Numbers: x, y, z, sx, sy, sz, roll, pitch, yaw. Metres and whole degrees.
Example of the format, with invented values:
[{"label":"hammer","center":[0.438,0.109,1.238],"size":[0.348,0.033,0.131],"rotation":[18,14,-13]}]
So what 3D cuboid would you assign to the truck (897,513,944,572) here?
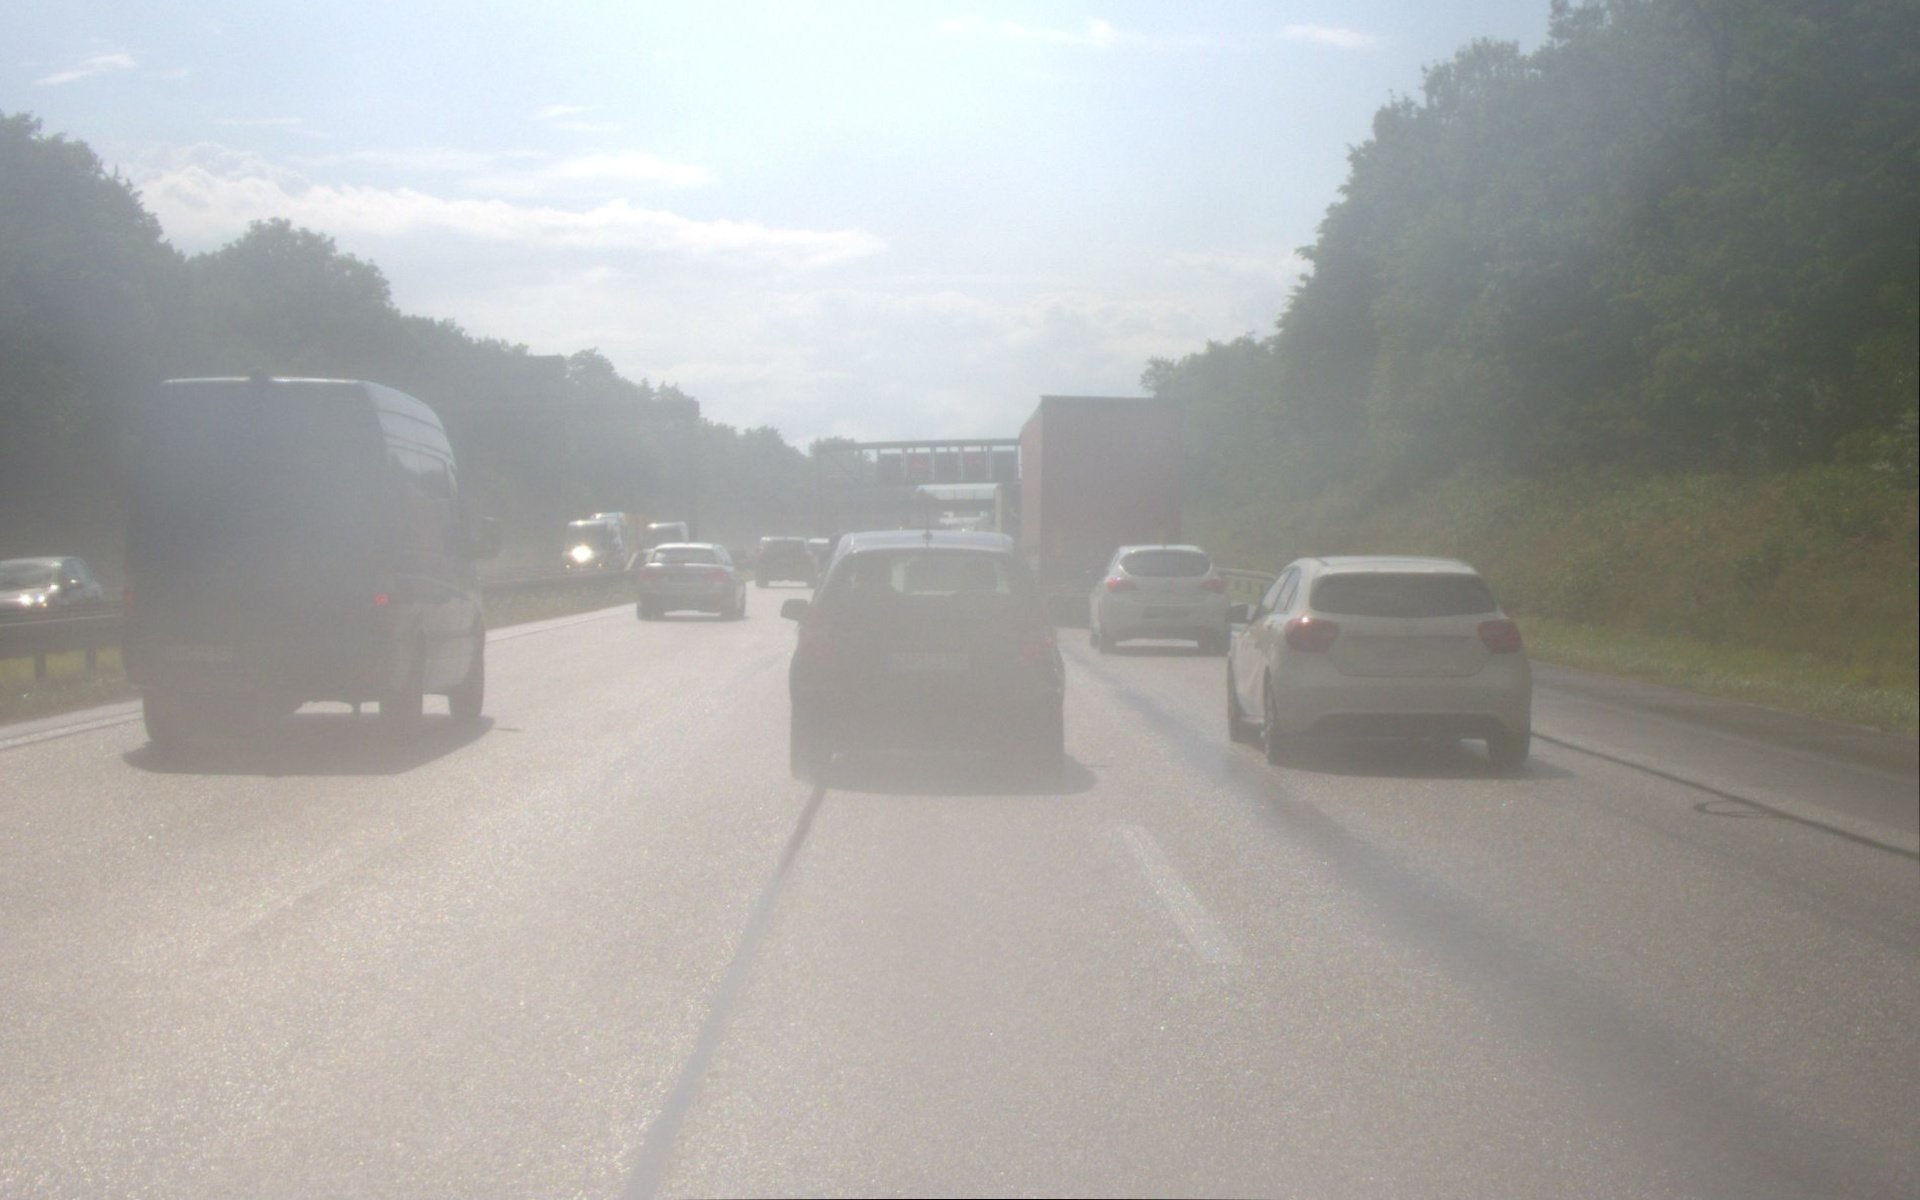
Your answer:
[{"label":"truck","center":[-1.971,-2.837,169.318],"size":[2.192,2.865,4.850],"rotation":[1,1,-1]}]

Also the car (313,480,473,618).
[{"label":"car","center":[-10.615,-0.961,64.761],"size":[2.183,2.444,5.748],"rotation":[1,1,-1]}]

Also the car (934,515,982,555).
[{"label":"car","center":[-0.089,-2.250,119.258],"size":[1.552,1.378,3.210],"rotation":[1,1,-1]}]

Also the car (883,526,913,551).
[{"label":"car","center":[-4.196,-4.195,233.881],"size":[1.993,1.695,4.000],"rotation":[-1,1,0]}]

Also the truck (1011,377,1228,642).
[{"label":"truck","center":[2.986,-1.752,70.133],"size":[3.650,4.704,16.779],"rotation":[1,1,0]}]

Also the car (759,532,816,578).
[{"label":"car","center":[-5.577,-1.463,111.446],"size":[1.751,1.452,3.390],"rotation":[1,1,-1]}]

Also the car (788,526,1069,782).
[{"label":"car","center":[-0.238,0.309,22.960],"size":[1.717,1.562,3.485],"rotation":[1,1,-1]}]

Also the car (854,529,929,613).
[{"label":"car","center":[-1.469,-0.627,73.057],"size":[1.531,1.740,3.485],"rotation":[1,1,-1]}]

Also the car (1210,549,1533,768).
[{"label":"car","center":[2.863,0.356,24.749],"size":[1.692,1.420,4.220],"rotation":[1,1,-1]}]

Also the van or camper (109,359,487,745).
[{"label":"van or camper","center":[-4.972,-0.375,26.595],"size":[1.993,2.659,5.385],"rotation":[1,1,-1]}]

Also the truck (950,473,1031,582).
[{"label":"truck","center":[1.289,-3.106,148.344],"size":[3.256,4.464,12.421],"rotation":[1,1,0]}]

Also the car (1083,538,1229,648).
[{"label":"car","center":[2.678,-0.122,47.619],"size":[1.680,1.437,3.905],"rotation":[1,1,-1]}]

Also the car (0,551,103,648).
[{"label":"car","center":[-14.803,-0.032,54.461],"size":[1.602,1.459,3.652],"rotation":[1,1,-1]}]

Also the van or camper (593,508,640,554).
[{"label":"van or camper","center":[-22.327,-4.479,223.570],"size":[2.500,2.911,7.139],"rotation":[1,1,-1]}]

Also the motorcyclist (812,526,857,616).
[{"label":"motorcyclist","center":[-2.292,-0.536,62.978],"size":[0.801,1.627,1.013],"rotation":[1,1,-1]}]

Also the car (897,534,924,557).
[{"label":"car","center":[-3.643,-4.037,253.705],"size":[1.993,1.722,4.000],"rotation":[0,1,0]}]

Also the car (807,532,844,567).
[{"label":"car","center":[-5.446,-2.036,139.533],"size":[1.460,1.389,3.312],"rotation":[1,1,-1]}]

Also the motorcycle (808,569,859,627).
[{"label":"motorcycle","center":[-2.315,-0.049,63.029],"size":[0.890,0.997,2.896],"rotation":[1,1,-1]}]

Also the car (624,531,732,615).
[{"label":"car","center":[-5.390,-0.538,66.116],"size":[1.854,1.546,3.485],"rotation":[1,1,-1]}]

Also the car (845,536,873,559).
[{"label":"car","center":[-5.639,-2.944,192.384],"size":[1.549,1.262,3.485],"rotation":[1,1,-2]}]
